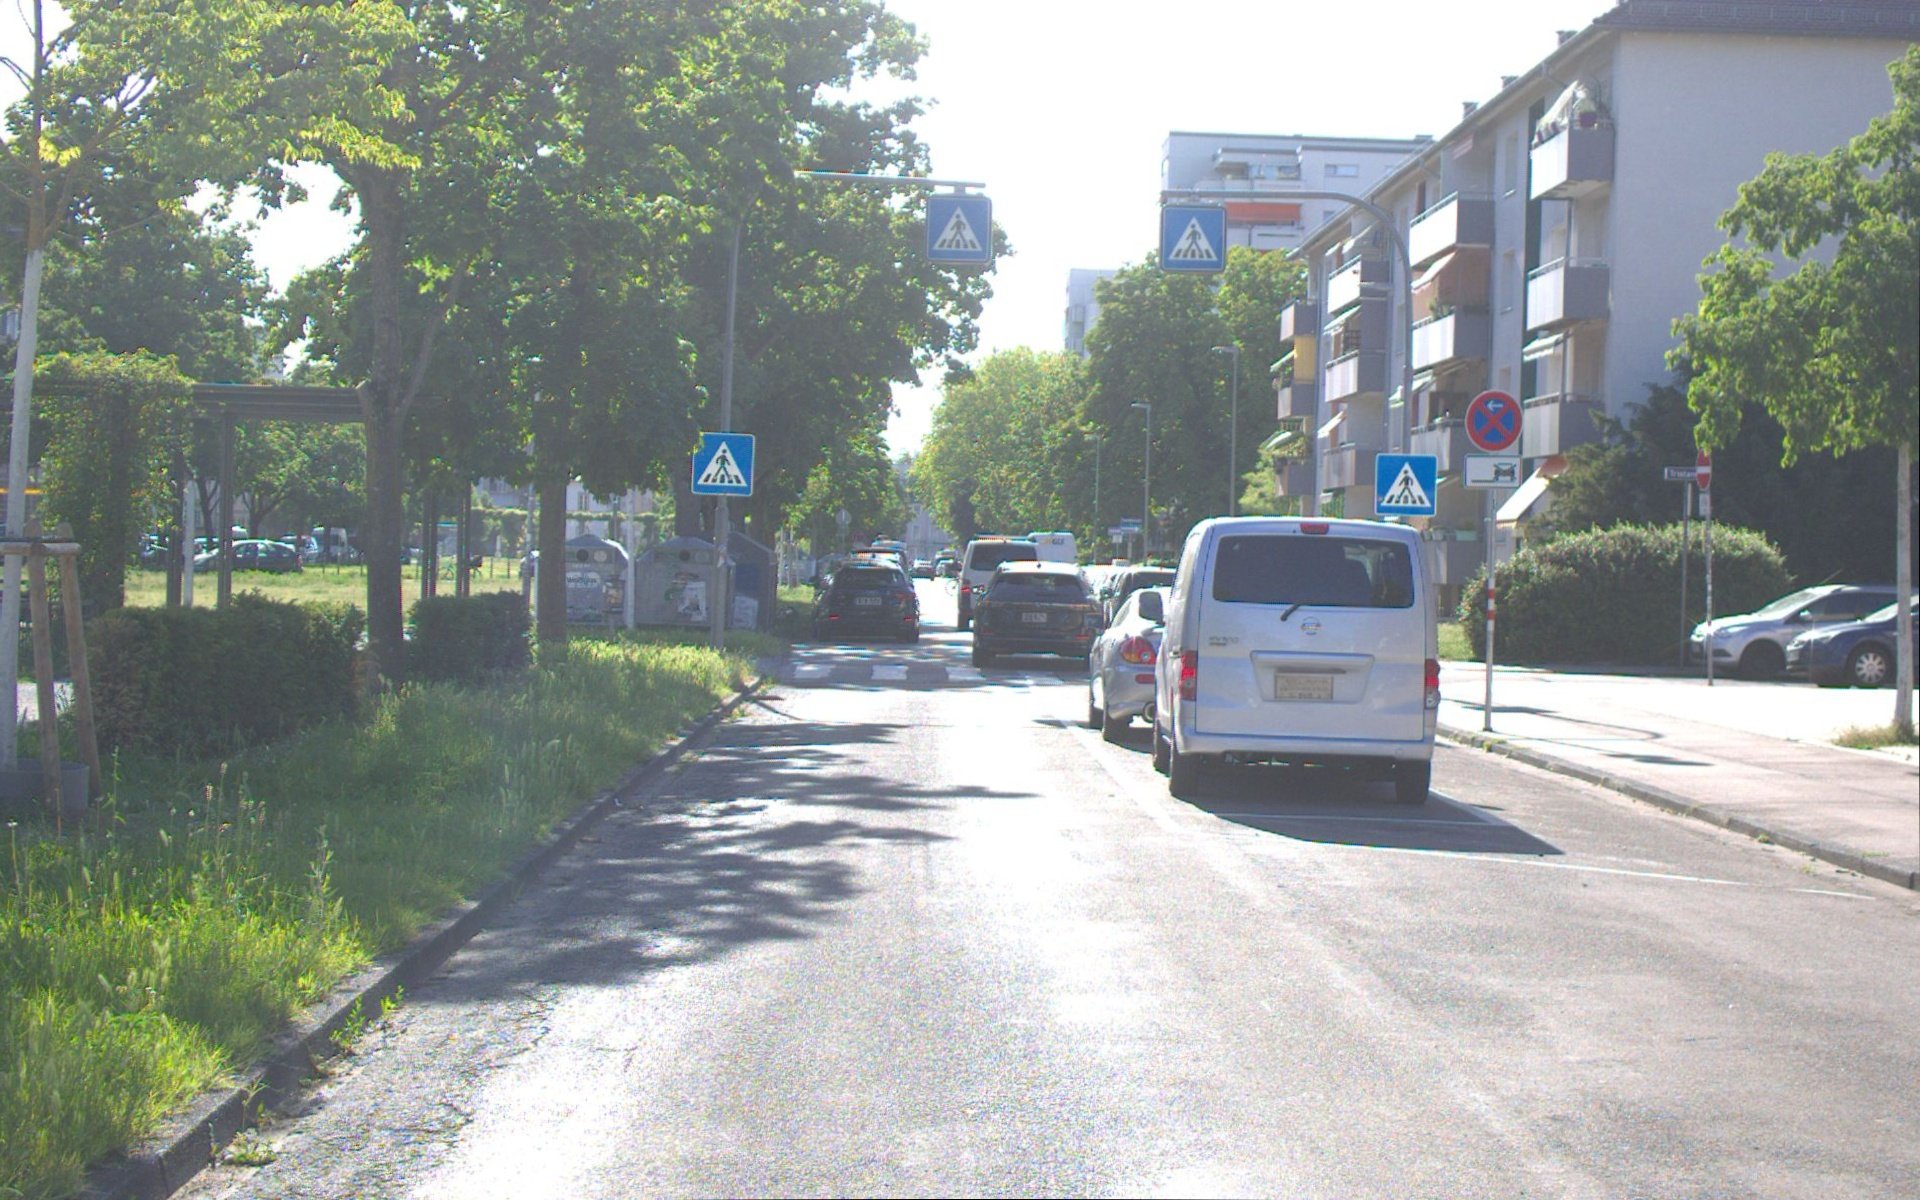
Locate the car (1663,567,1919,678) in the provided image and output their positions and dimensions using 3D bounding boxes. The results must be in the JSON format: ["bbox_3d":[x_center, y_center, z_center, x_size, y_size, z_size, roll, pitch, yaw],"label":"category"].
[{"bbox_3d":[13.643,0.377,54.666,4.479,1.617,1.800,2,-1,-3],"label":"car"}]

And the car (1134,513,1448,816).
[{"bbox_3d":[2.202,0.380,23.918,1.794,1.849,4.413,2,1,1],"label":"car"}]

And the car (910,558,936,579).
[{"bbox_3d":[-2.659,-2.289,248.408,1.794,1.505,4.000,1,1,0],"label":"car"}]

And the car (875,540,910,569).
[{"bbox_3d":[-3.638,-2.442,186.230,1.794,1.505,4.000,1,1,0],"label":"car"}]

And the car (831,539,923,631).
[{"bbox_3d":[-1.872,-0.356,78.502,1.993,2.007,4.000,1,0,0],"label":"car"}]

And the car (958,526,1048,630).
[{"bbox_3d":[0.913,-0.485,74.477,1.794,2.115,4.000,2,1,0],"label":"car"}]

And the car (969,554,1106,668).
[{"bbox_3d":[1.068,0.133,49.123,1.794,1.505,4.000,2,1,0],"label":"car"}]

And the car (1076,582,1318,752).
[{"bbox_3d":[2.026,0.554,30.448,1.764,1.314,4.168,3,0,0],"label":"car"}]

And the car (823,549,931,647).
[{"bbox_3d":[-1.452,-0.061,61.508,1.794,1.619,4.000,2,1,0],"label":"car"}]

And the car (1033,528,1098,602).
[{"bbox_3d":[3.731,-1.246,122.198,1.993,2.422,4.500,4,1,0],"label":"car"}]

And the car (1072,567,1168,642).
[{"bbox_3d":[3.403,0.072,73.889,1.794,1.505,4.000,2,1,0],"label":"car"}]

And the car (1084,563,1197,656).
[{"bbox_3d":[3.324,0.153,63.808,1.794,1.595,4.000,2,1,0],"label":"car"}]

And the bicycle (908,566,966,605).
[{"bbox_3d":[-0.959,-0.597,141.764,2.322,1.534,0.630,1,0,-5],"label":"bicycle"}]

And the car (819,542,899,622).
[{"bbox_3d":[-2.629,-0.478,90.360,1.993,2.007,4.000,1,0,0],"label":"car"}]
